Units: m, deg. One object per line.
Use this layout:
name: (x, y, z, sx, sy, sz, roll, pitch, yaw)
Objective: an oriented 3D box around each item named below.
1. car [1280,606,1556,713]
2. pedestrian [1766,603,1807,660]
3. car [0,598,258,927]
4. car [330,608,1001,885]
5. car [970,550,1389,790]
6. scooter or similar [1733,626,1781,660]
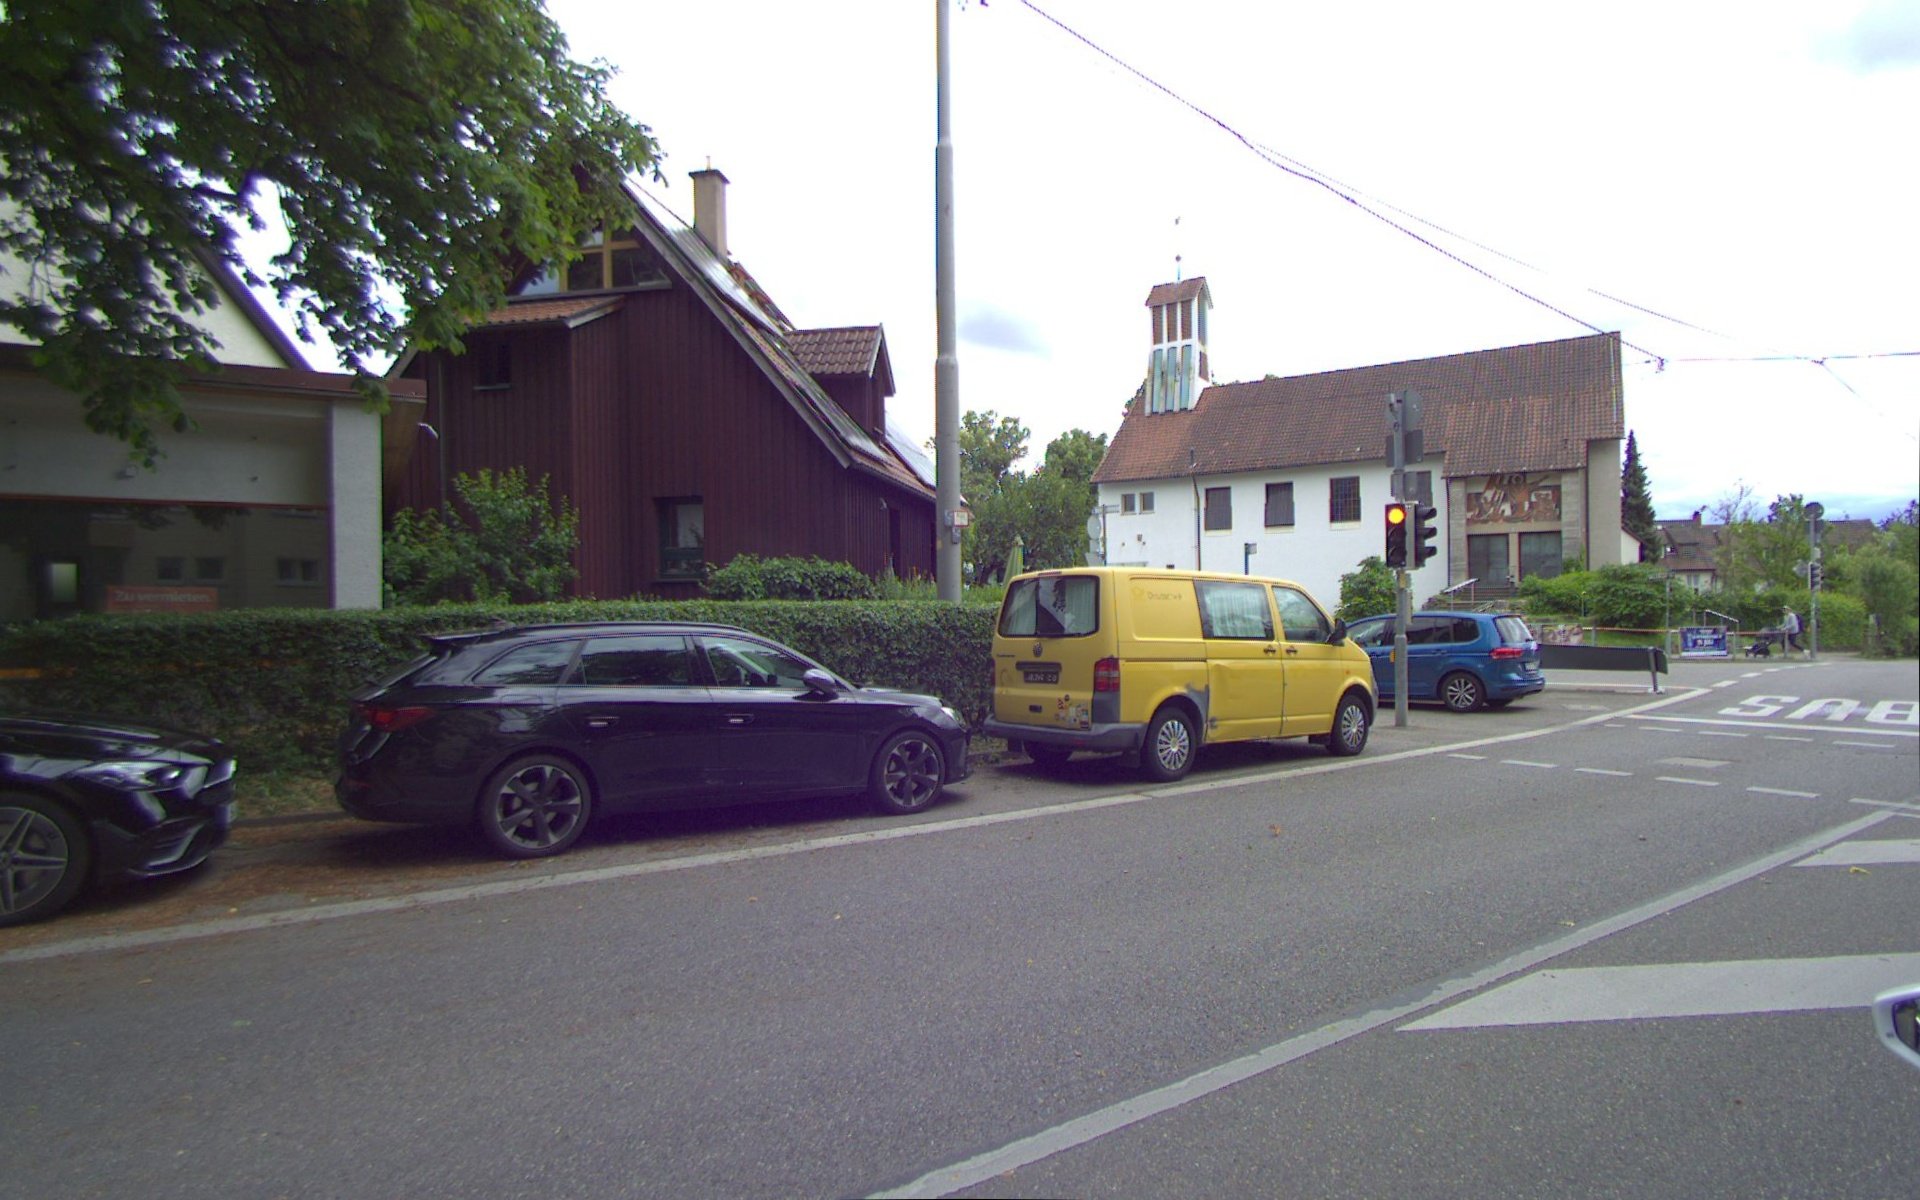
car: (7.809, 0.992, 17.361, 1.806, 1.632, 3.948, 1, -3, -44)
pedestrian: (27.315, 1.042, 33.207, 0.869, 1.887, 0.575, 0, -1, 8)
car: (-6.218, 0.762, 4.751, 4.561, 1.520, 1.984, 1, -2, -31)
car: (-2.001, 0.845, 7.435, 4.494, 1.505, 1.681, 1, -2, -34)
car: (2.456, 0.647, 10.679, 4.523, 2.040, 1.870, 1, -2, -37)
scooter or similar: (26.420, 1.419, 33.292, 1.089, 1.095, 0.578, 0, -1, 6)
